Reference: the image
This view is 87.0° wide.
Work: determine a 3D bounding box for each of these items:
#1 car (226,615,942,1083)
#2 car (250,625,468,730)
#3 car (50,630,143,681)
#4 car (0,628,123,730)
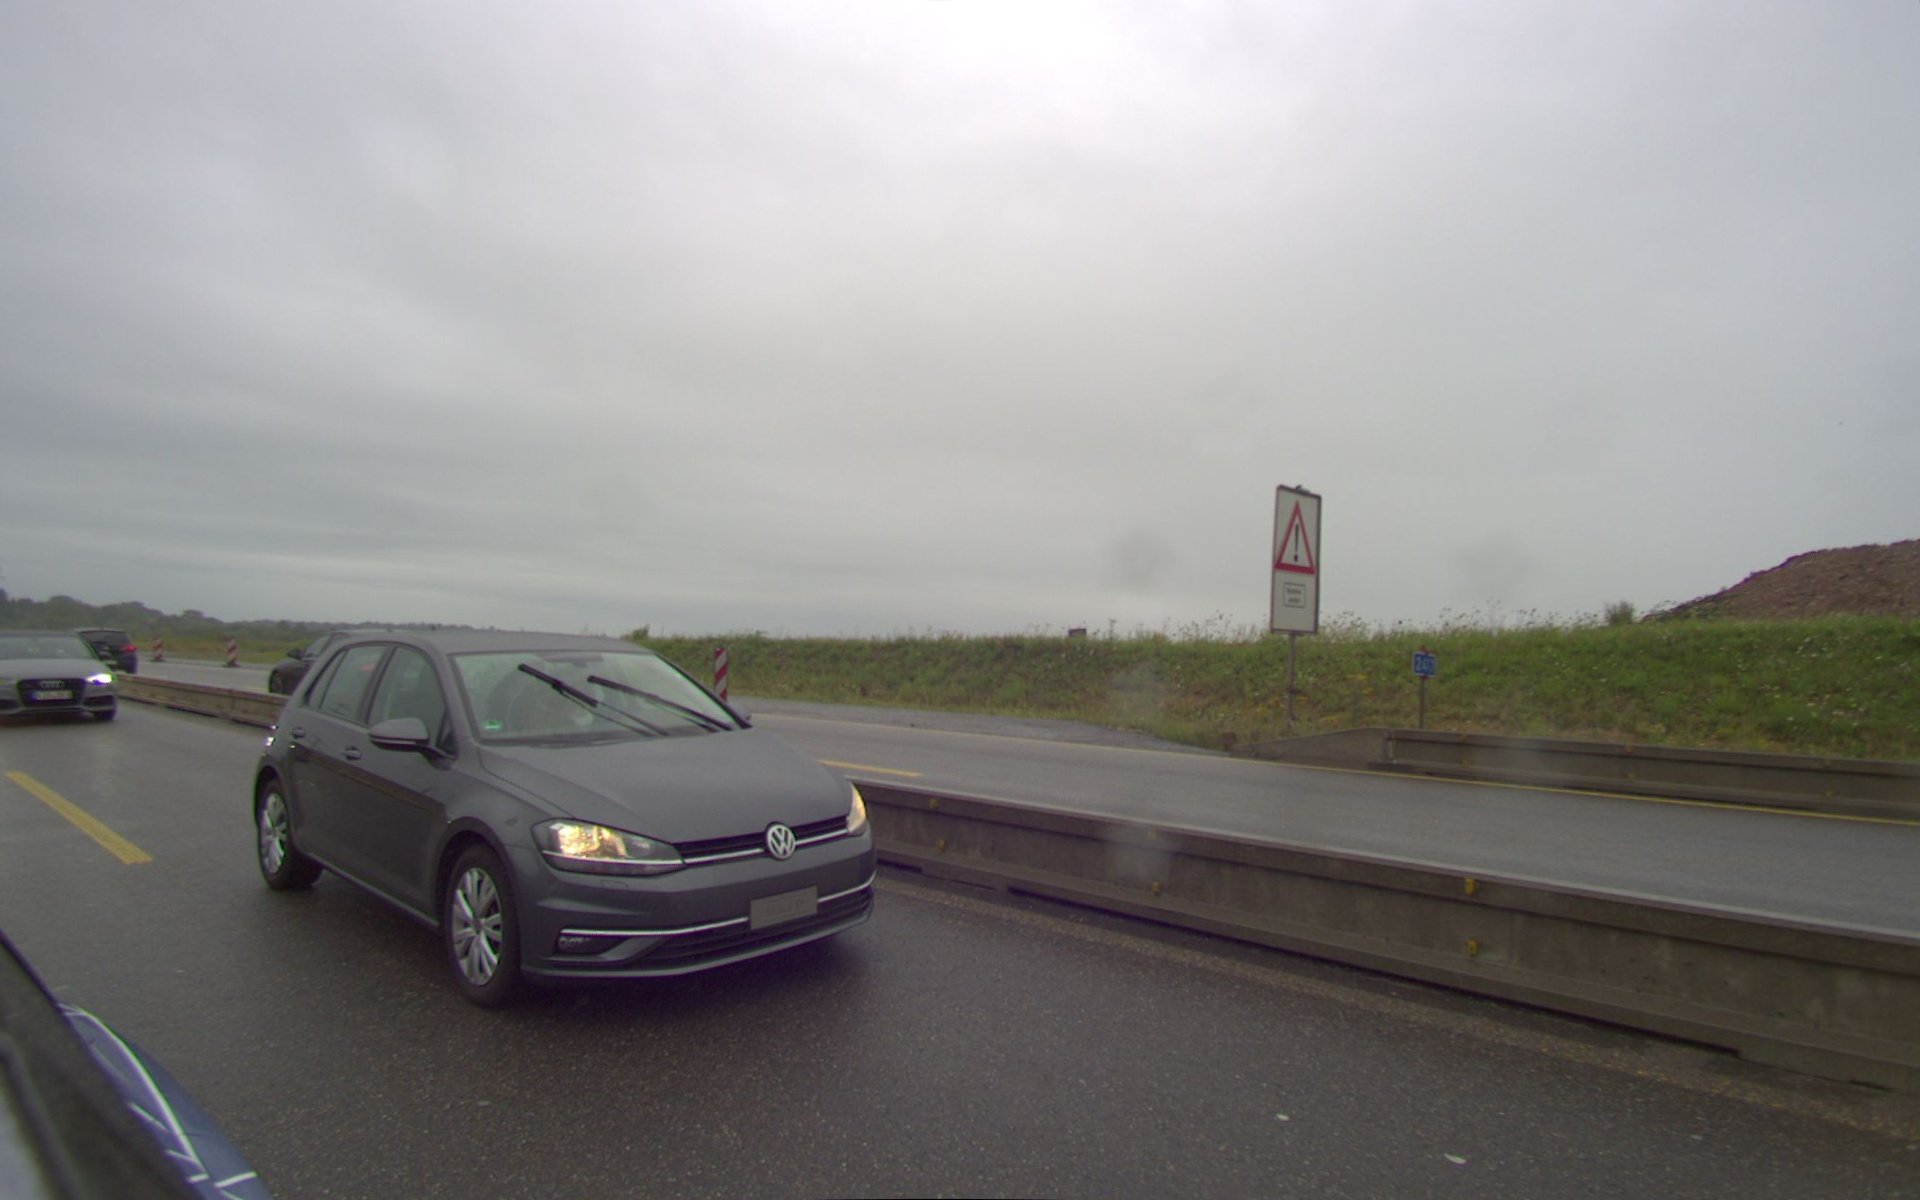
[{"bbox_3d":[-2.151,0.814,5.126,4.078,1.433,1.632,0,-2,41],"label":"car"},{"bbox_3d":[-10.708,1.249,17.875,4.892,1.597,1.898,-1,-2,41],"label":"car"},{"bbox_3d":[-26.781,1.671,31.369,3.729,1.477,1.648,-2,-2,41],"label":"car"},{"bbox_3d":[-15.079,1.182,16.269,4.266,1.407,1.777,0,-1,40],"label":"car"}]
